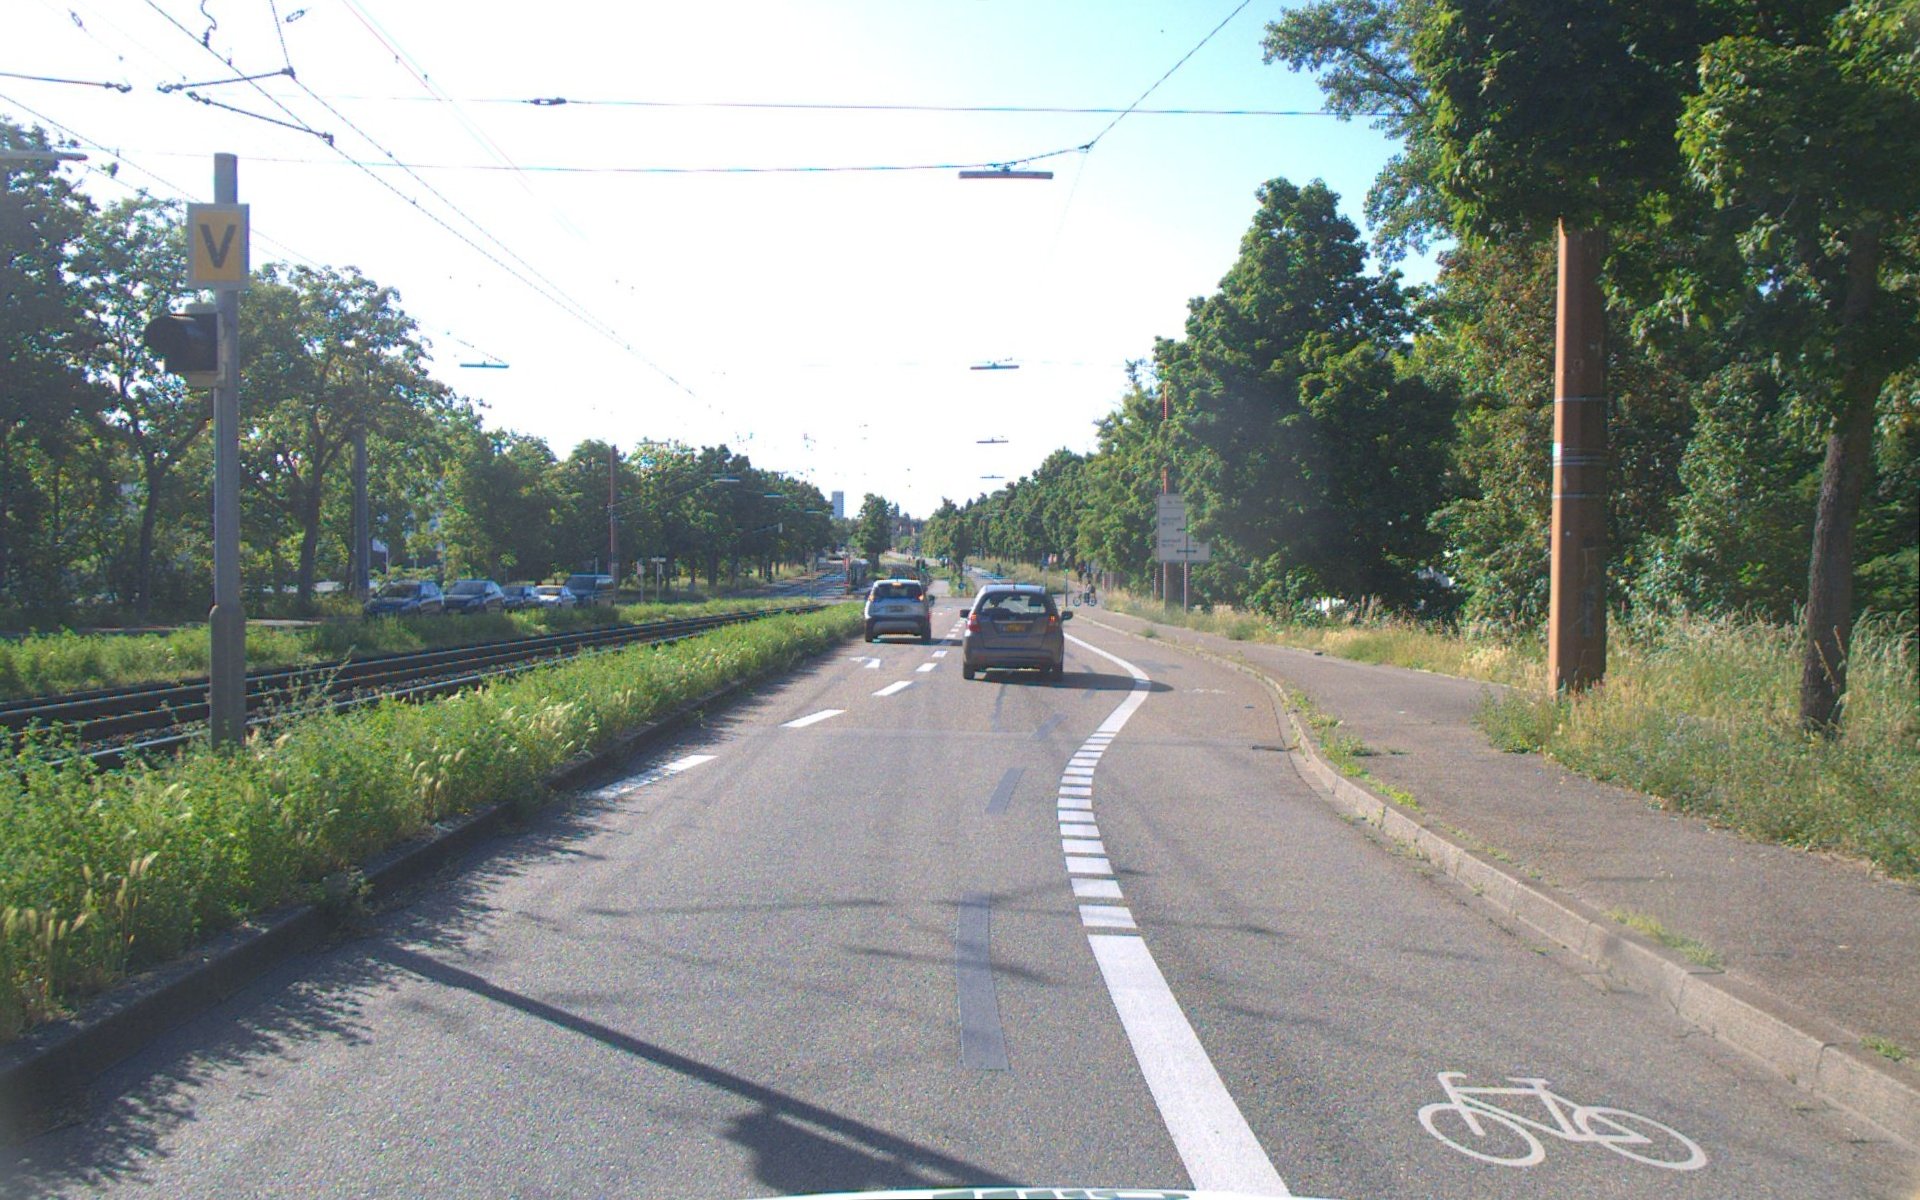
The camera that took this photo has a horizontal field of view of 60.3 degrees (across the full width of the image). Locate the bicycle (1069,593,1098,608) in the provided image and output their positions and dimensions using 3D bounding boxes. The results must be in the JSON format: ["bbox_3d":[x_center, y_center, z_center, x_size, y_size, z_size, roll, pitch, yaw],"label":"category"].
[{"bbox_3d":[8.615,0.023,115.389,1.879,1.015,0.765,-2,0,12],"label":"bicycle"}]

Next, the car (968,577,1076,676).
[{"bbox_3d":[0.984,0.394,28.106,1.672,1.535,4.000,1,1,0],"label":"car"}]

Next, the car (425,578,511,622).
[{"bbox_3d":[-18.740,-0.032,63.170,1.953,1.601,4.435,0,1,0],"label":"car"}]

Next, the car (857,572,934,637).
[{"bbox_3d":[-1.667,0.085,44.251,1.812,1.634,4.255,0,1,1],"label":"car"}]

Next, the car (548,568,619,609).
[{"bbox_3d":[-18.519,-0.581,81.490,2.151,1.924,4.793,1,1,3],"label":"car"}]

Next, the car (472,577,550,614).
[{"bbox_3d":[-18.679,-0.211,68.938,1.952,1.462,4.416,0,1,1],"label":"car"}]

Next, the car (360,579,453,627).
[{"bbox_3d":[-18.833,0.084,56.456,1.700,1.520,4.327,2,0,-1],"label":"car"}]

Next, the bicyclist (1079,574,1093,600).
[{"bbox_3d":[8.795,-0.899,115.345,0.890,1.775,0.765,-1,0,12],"label":"bicyclist"}]

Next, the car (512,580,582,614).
[{"bbox_3d":[-18.724,-0.172,75.123,1.888,1.462,4.696,0,1,1],"label":"car"}]
